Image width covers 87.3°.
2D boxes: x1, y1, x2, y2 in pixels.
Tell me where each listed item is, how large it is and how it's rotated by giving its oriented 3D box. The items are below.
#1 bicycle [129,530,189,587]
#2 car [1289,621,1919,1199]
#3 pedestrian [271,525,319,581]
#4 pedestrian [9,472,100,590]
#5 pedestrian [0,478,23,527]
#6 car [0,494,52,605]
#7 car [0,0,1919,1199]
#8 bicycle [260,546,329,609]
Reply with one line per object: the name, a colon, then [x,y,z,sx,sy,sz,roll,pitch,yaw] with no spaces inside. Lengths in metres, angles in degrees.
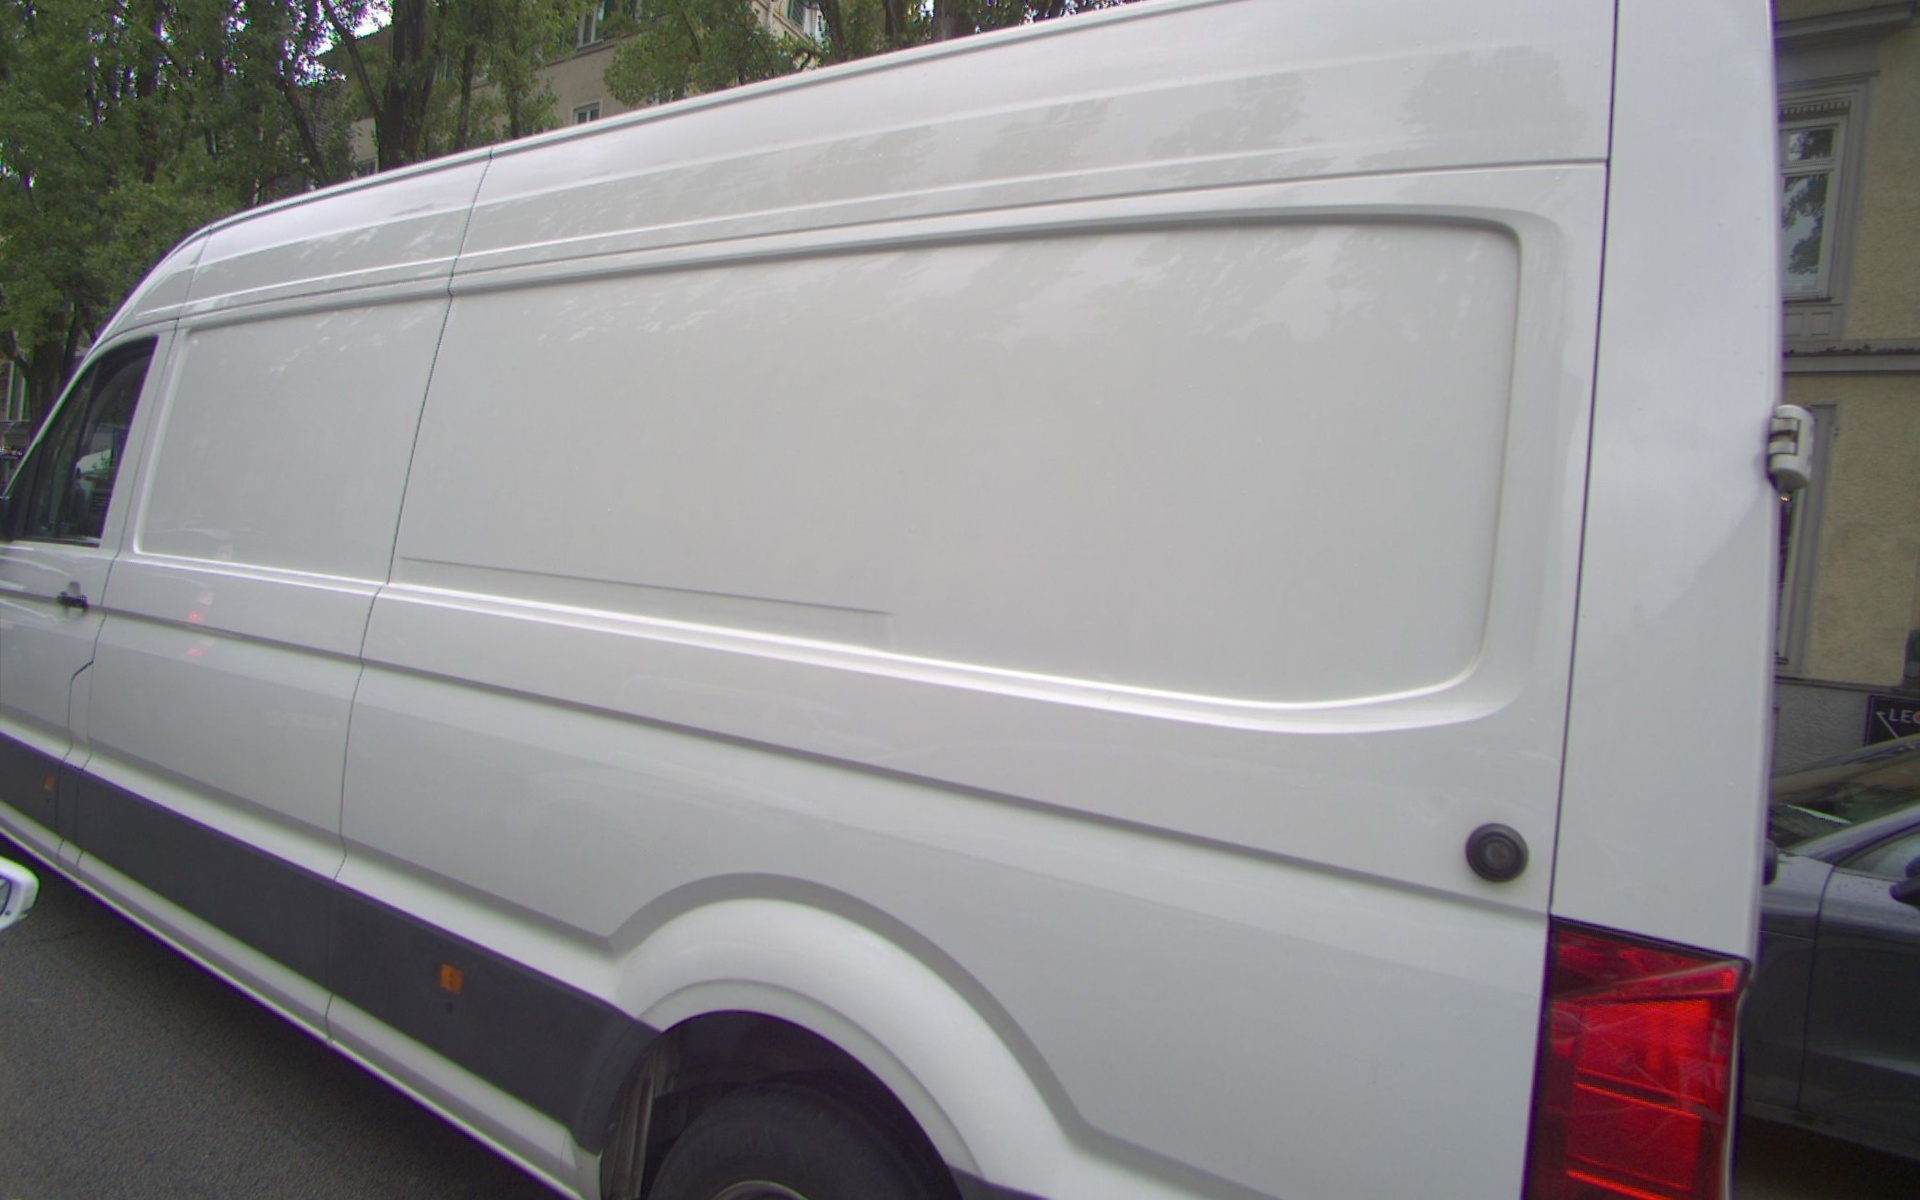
bicycle: [-15.848,-0.826,19.903,1.429,1.009,0.349,6,2,28]
car: [3.653,1.198,3.464,4.372,1.657,1.807,7,-1,30]
pedestrian: [-17.113,-1.206,25.887,0.787,1.340,0.639,7,1,31]
pedestrian: [-14.941,-1.129,16.608,0.857,1.795,0.827,7,1,35]
pedestrian: [-35.086,-3.587,36.951,0.745,1.707,0.674,6,1,27]
car: [-14.921,-0.904,14.664,3.465,1.510,1.543,7,-1,33]
car: [-1.429,0.100,3.320,6.619,2.522,2.066,7,0,32]
bicycle: [-12.068,-0.410,18.239,1.429,1.009,0.349,6,2,28]
